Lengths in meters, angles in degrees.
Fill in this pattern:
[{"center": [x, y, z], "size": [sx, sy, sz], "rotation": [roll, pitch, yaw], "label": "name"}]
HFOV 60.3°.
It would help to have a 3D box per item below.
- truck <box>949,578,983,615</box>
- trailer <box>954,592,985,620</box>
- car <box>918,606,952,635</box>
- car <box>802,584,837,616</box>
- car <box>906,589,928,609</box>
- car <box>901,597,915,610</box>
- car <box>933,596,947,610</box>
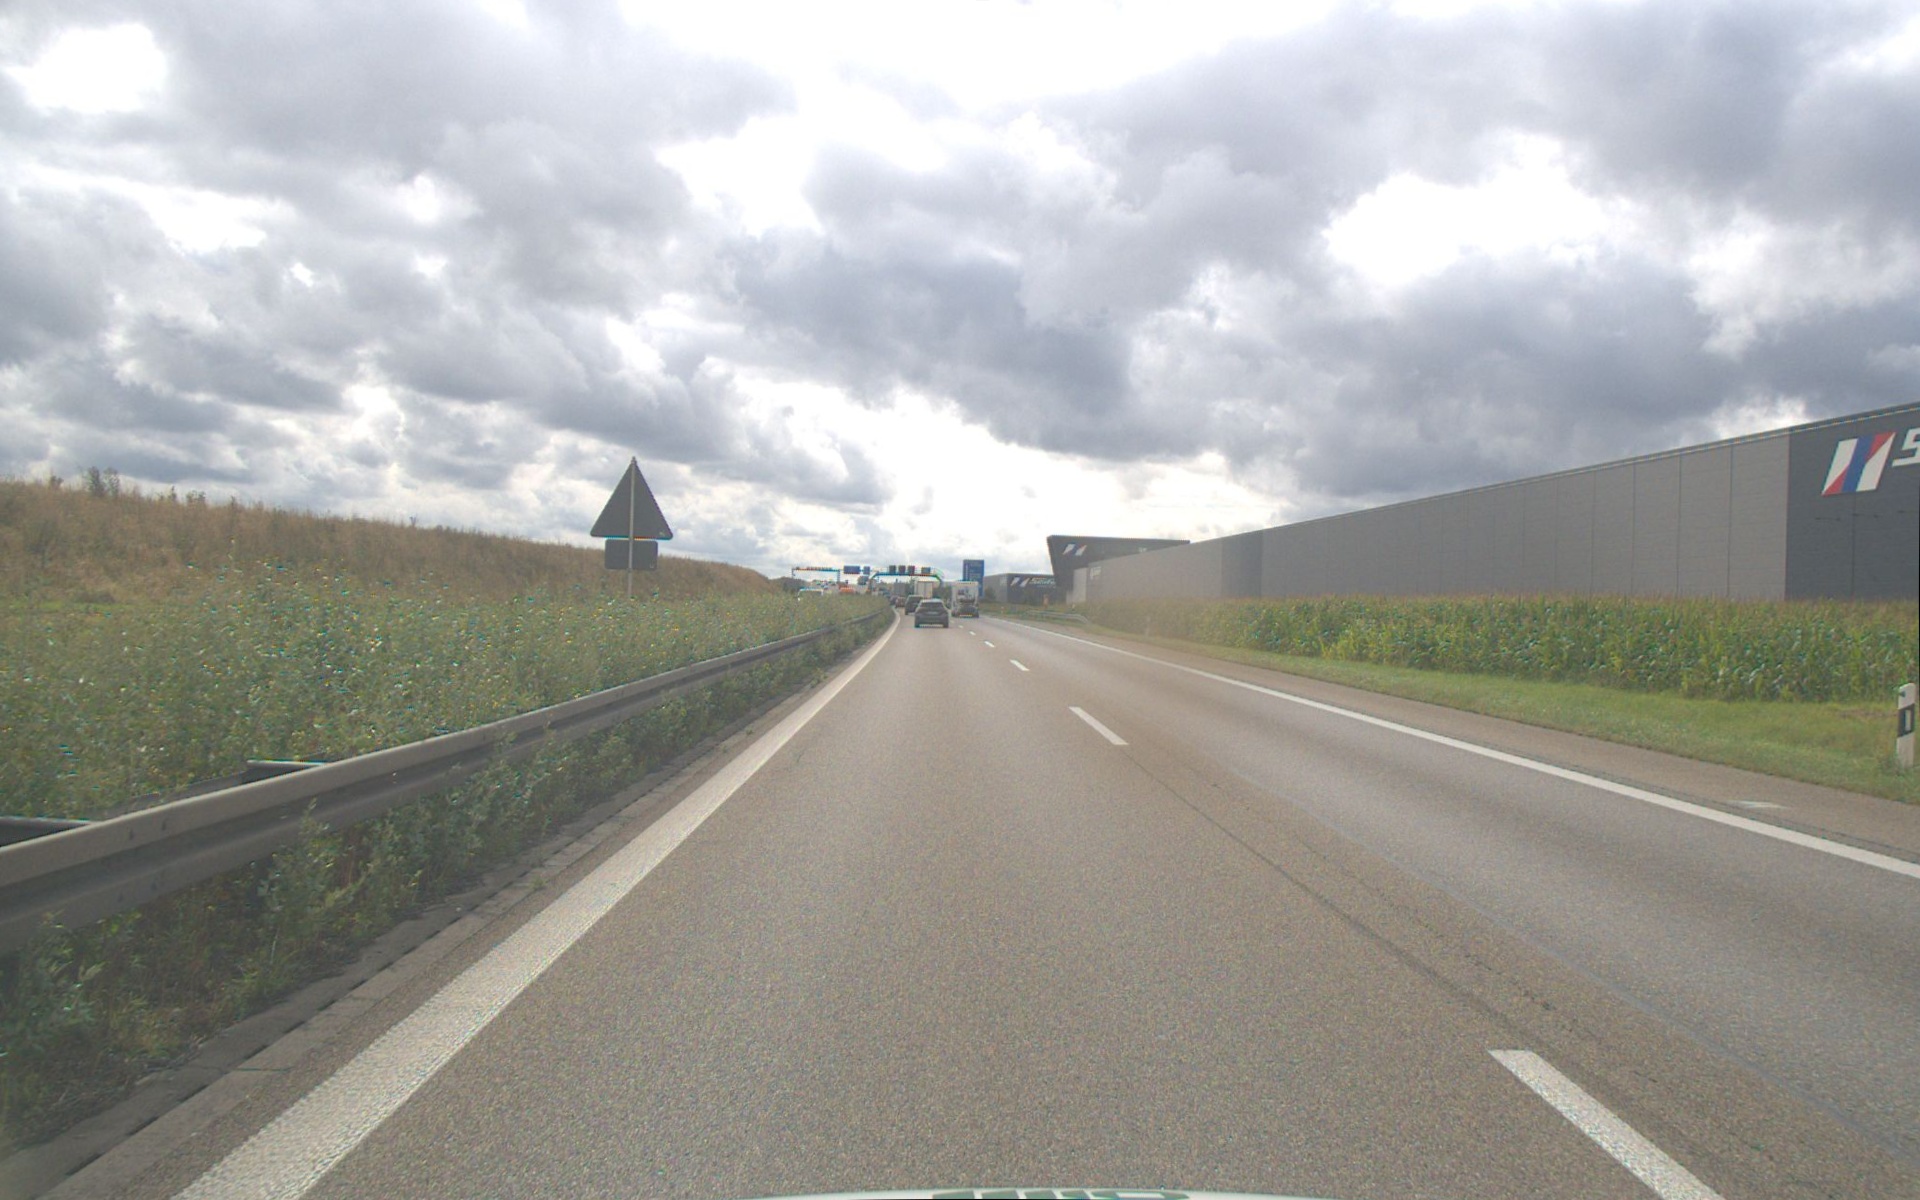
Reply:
[{"center": [0.513, -0.289, 142.079], "size": [2.433, 3.002, 5.809], "rotation": [1, 0, -4], "label": "truck"}, {"center": [0.777, 0.467, 135.078], "size": [2.291, 2.174, 3.998], "rotation": [1, 0, -2], "label": "trailer"}, {"center": [-1.345, 1.081, 87.501], "size": [1.711, 1.478, 3.998], "rotation": [1, 0, -2], "label": "car"}, {"center": [-9.589, 0.007, 113.154], "size": [1.953, 2.049, 5.530], "rotation": [1, 0, -1], "label": "car"}, {"center": [-3.956, -0.074, 151.006], "size": [1.906, 1.714, 3.998], "rotation": [1, 0, -2], "label": "car"}, {"center": [-7.463, 0.459, 235.944], "size": [1.904, 1.806, 3.694], "rotation": [1, 0, -3], "label": "car"}, {"center": [-2.652, 0.446, 217.241], "size": [1.765, 1.714, 3.999], "rotation": [0, 1, -3], "label": "car"}]
